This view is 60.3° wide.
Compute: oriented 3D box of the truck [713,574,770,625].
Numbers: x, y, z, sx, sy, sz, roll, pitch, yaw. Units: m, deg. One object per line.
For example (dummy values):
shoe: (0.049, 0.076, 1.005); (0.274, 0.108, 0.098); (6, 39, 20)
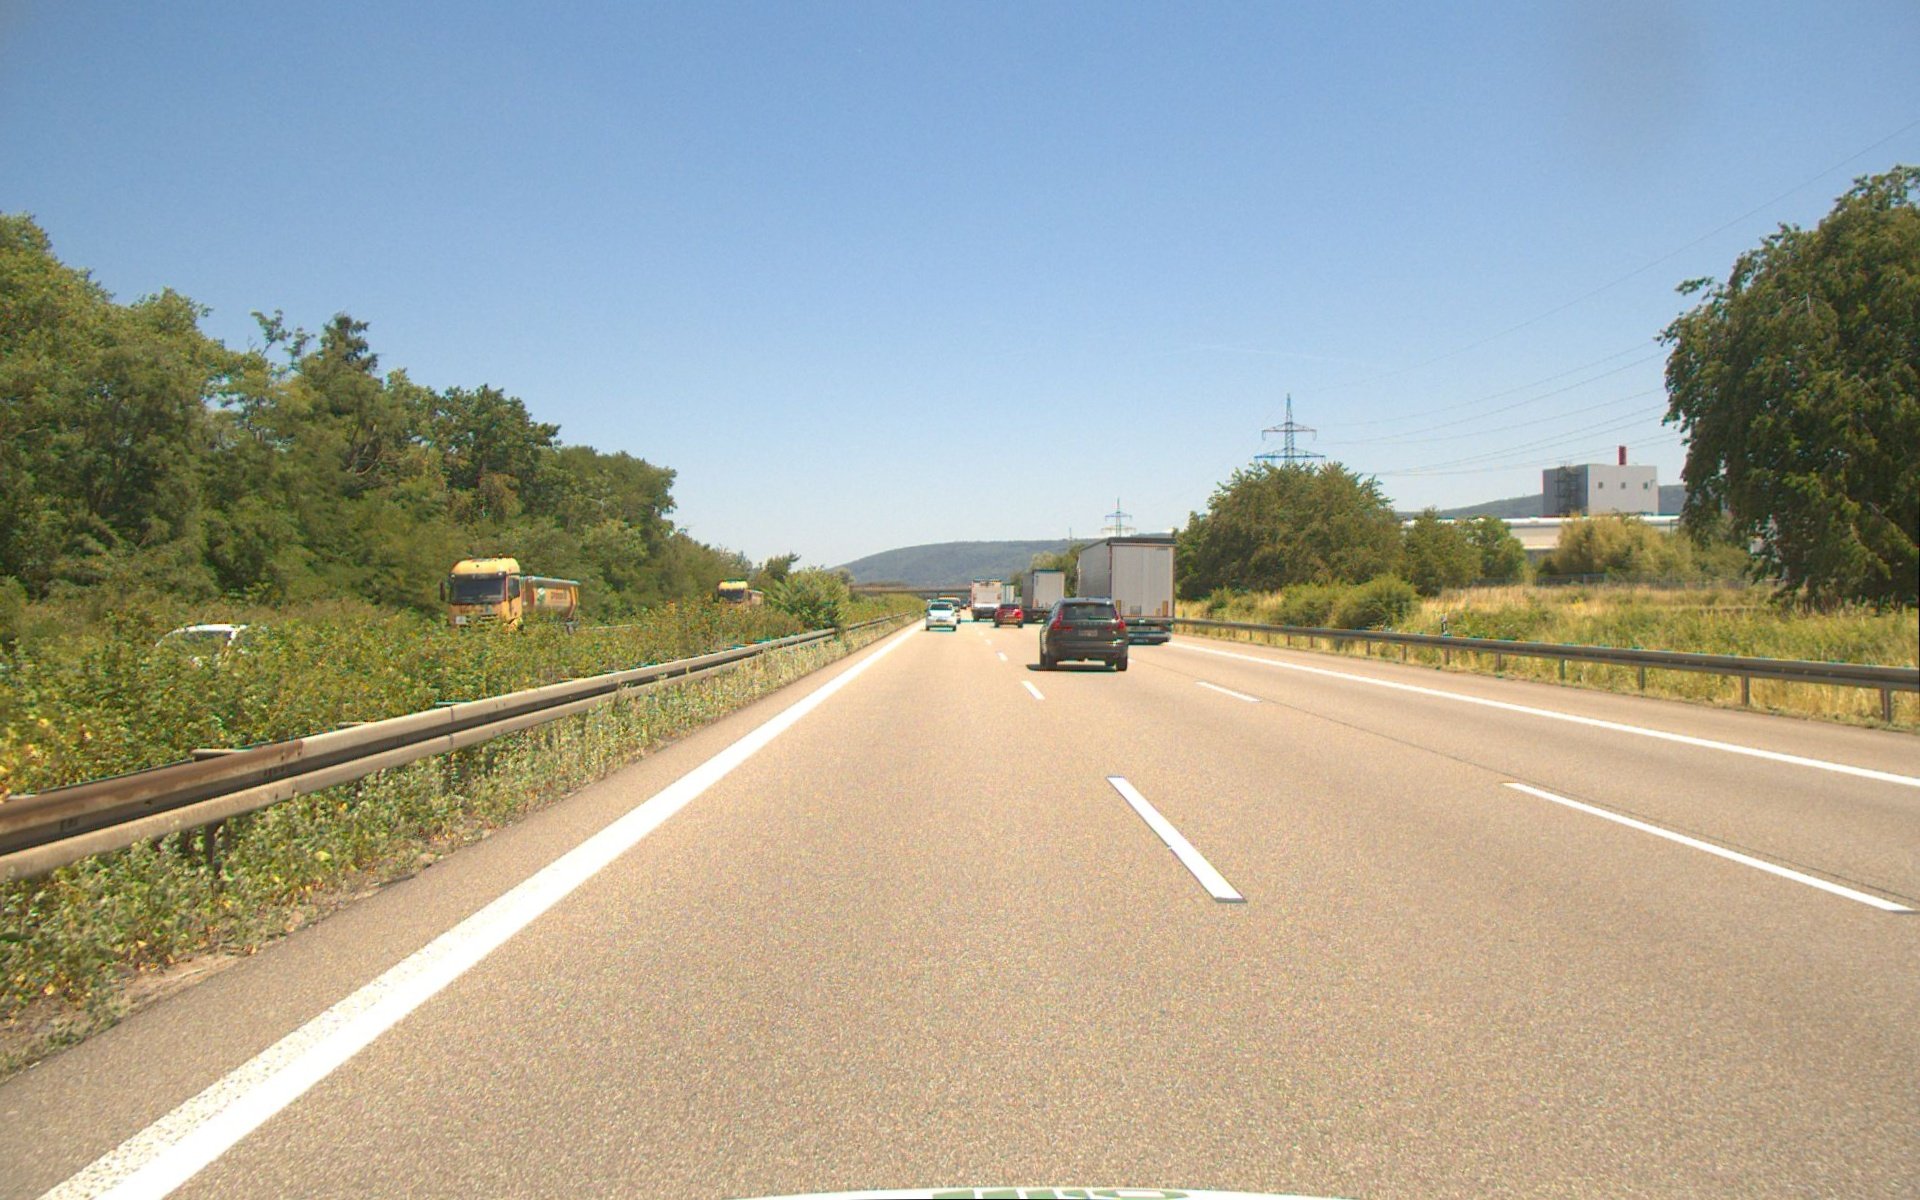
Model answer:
truck: (-17.422, -0.069, 132.617); (2.840, 3.770, 11.897); (-2, 0, 0)

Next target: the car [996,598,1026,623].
car: (3.194, 0.670, 104.747); (1.766, 1.572, 4.000); (0, 0, 0)

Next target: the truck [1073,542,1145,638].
truck: (6.759, -0.445, 75.582); (2.680, 4.192, 6.124); (0, 0, 0)

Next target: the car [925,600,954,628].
car: (-1.124, 0.742, 90.206); (1.574, 1.493, 3.999); (-1, 0, -1)

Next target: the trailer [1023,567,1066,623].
trailer: (6.702, -0.336, 132.501); (2.732, 4.237, 13.573); (-1, 0, 0)

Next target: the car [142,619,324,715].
car: (-13.131, 1.169, 30.105); (1.606, 1.508, 3.743); (-3, 0, -1)

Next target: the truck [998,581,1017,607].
truck: (6.284, -0.761, 220.181); (2.176, 3.265, 10.383); (-1, 0, 0)

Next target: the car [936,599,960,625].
car: (-0.885, 0.877, 122.204); (1.725, 1.883, 3.999); (-1, 0, -1)

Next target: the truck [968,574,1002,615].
truck: (2.104, -0.423, 140.457); (2.725, 3.432, 8.126); (1, 0, 0)

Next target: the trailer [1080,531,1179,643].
trailer: (6.803, -0.462, 68.454); (2.680, 4.178, 13.120); (0, 0, 0)

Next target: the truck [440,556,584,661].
truck: (-17.600, 0.343, 65.967); (2.487, 3.698, 11.843); (-2, 0, 0)

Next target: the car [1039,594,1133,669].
car: (2.904, 0.711, 38.824); (1.835, 1.652, 4.003); (0, 0, -1)
